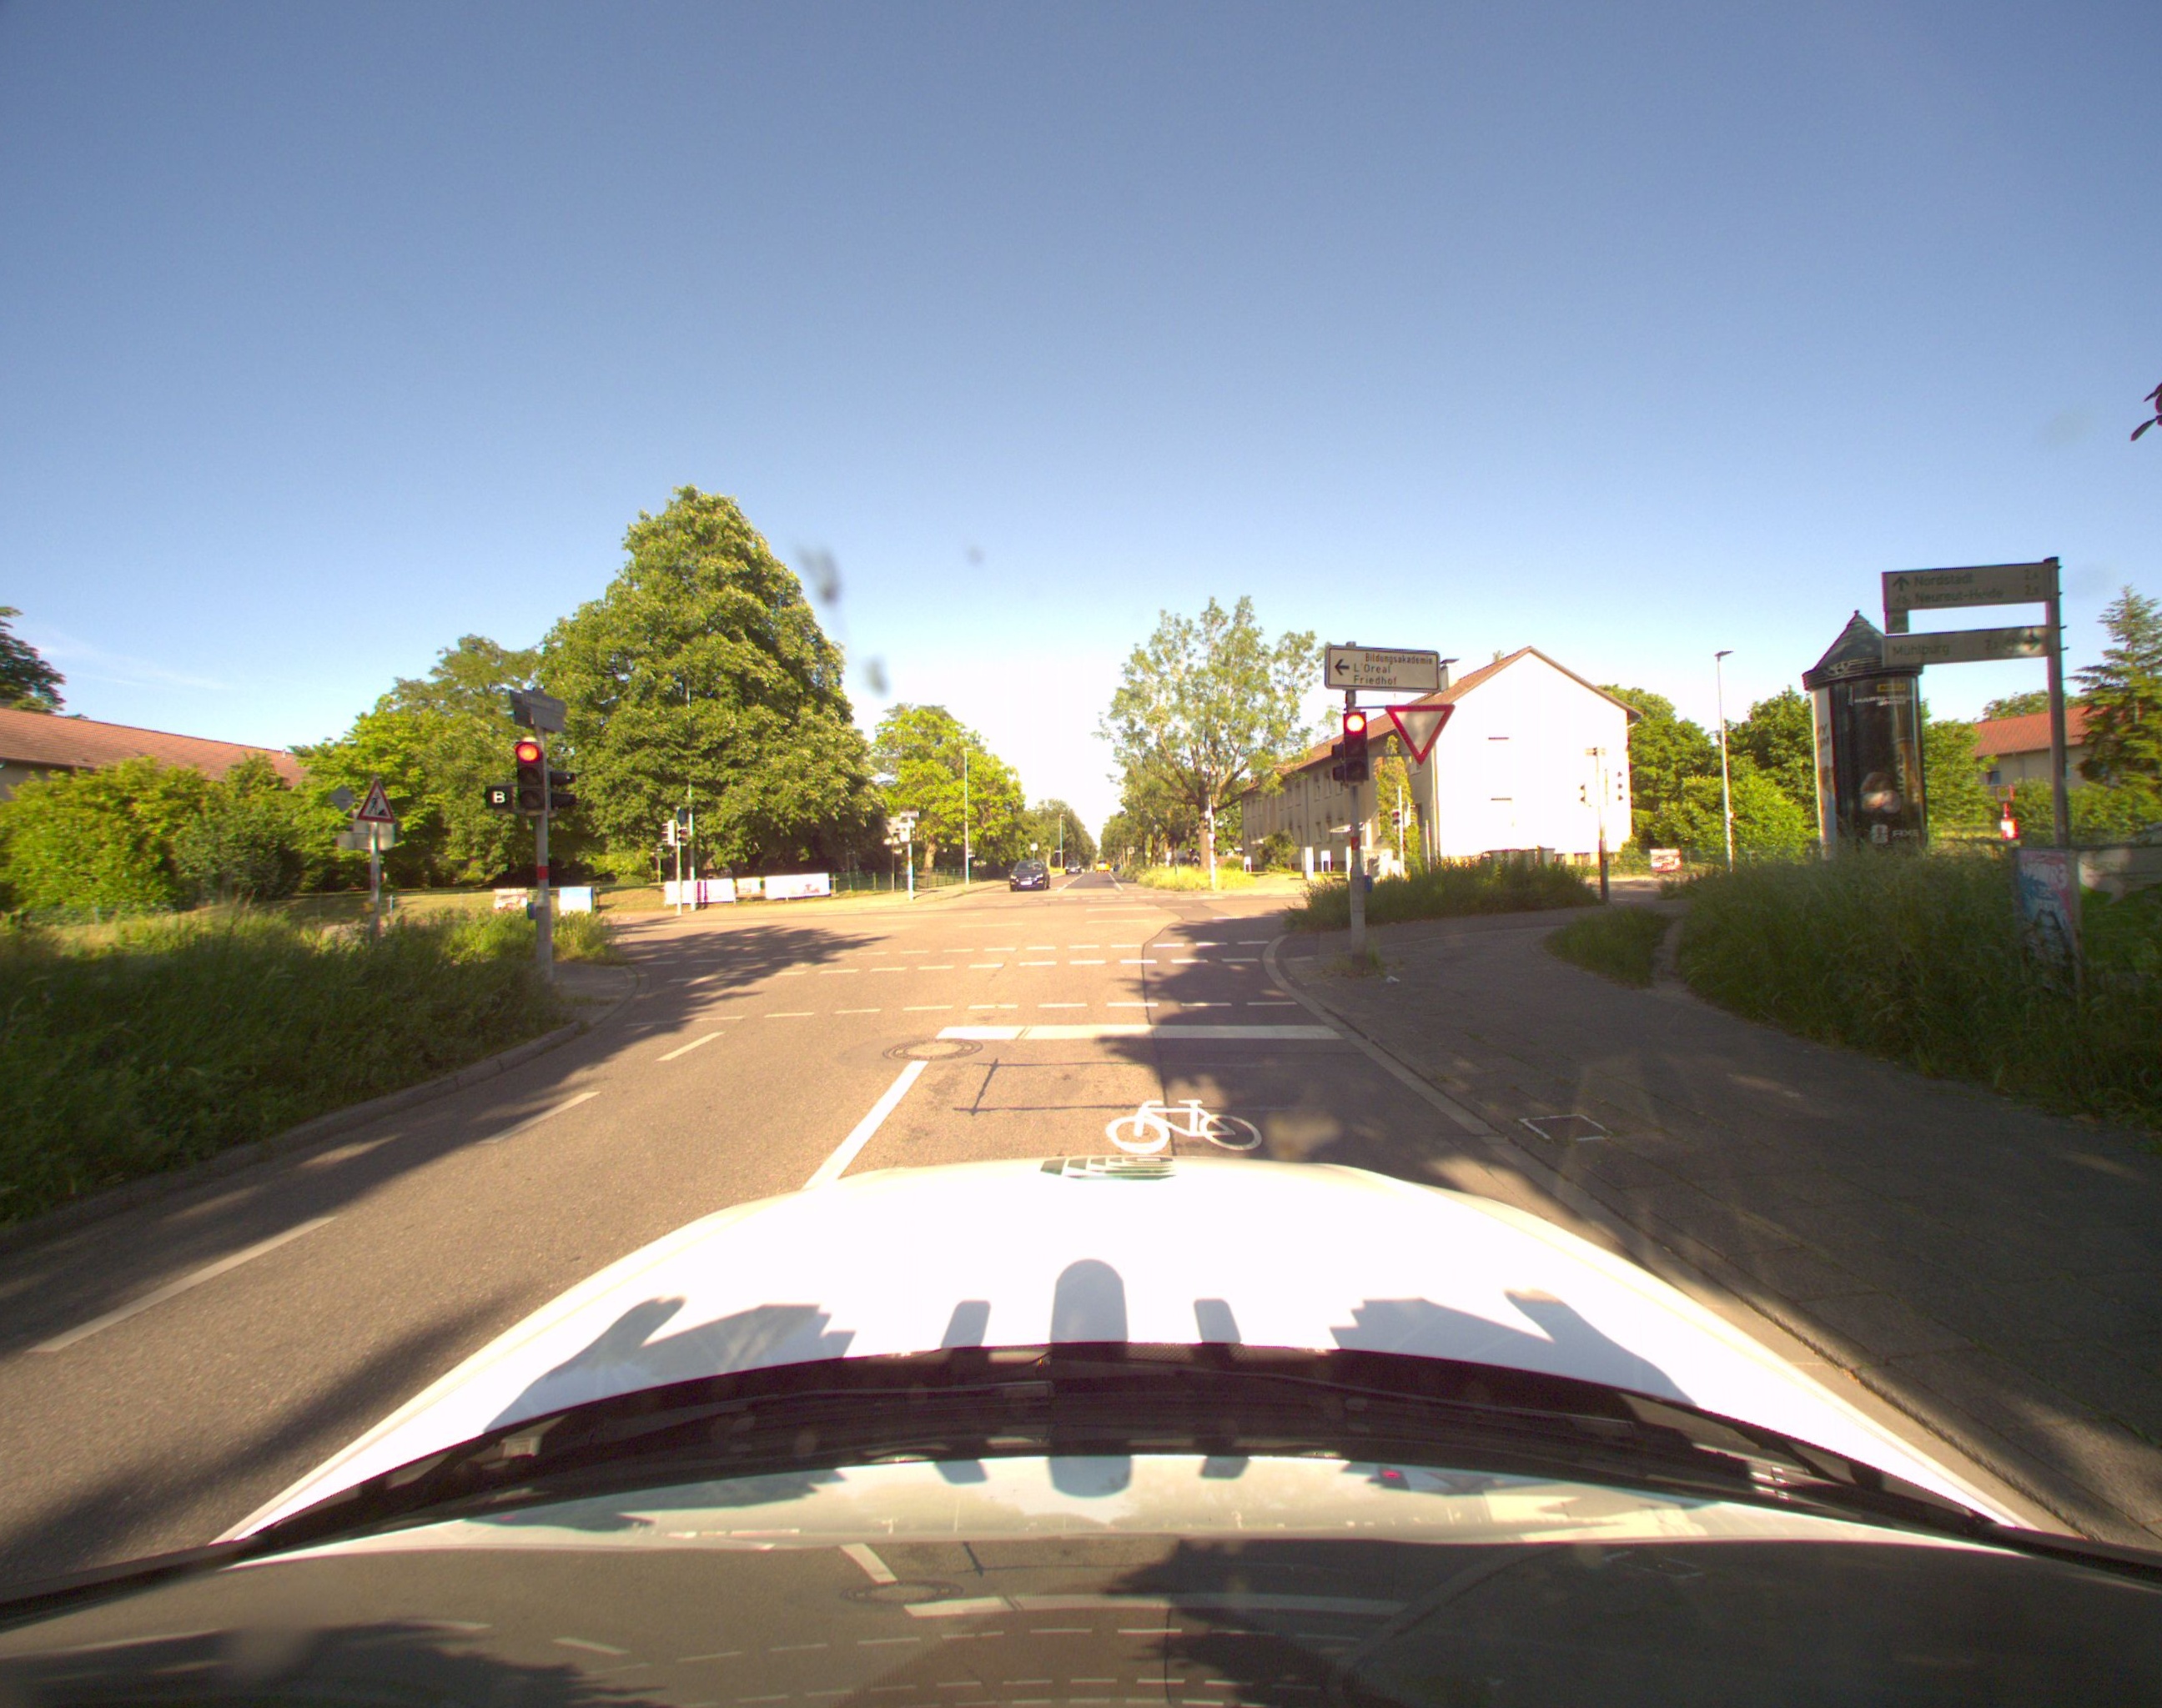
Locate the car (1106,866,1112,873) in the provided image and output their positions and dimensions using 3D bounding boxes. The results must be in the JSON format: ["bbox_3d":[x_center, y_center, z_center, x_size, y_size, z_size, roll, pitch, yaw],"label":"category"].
[{"bbox_3d":[7.548,4.170,219.283,1.766,1.754,4.002,-1,-1,2],"label":"car"}]

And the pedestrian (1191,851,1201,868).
[{"bbox_3d":[10.430,0.503,73.894,0.839,1.493,0.924,1,0,1],"label":"pedestrian"}]

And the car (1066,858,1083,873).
[{"bbox_3d":[-0.761,1.380,96.504,1.751,1.624,3.271,-2,0,3],"label":"car"}]

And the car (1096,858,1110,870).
[{"bbox_3d":[2.856,1.293,105.463,1.745,1.582,4.002,-1,-1,2],"label":"car"}]

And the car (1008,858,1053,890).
[{"bbox_3d":[-2.375,0.919,38.819,1.704,1.385,3.473,-2,0,3],"label":"car"}]
